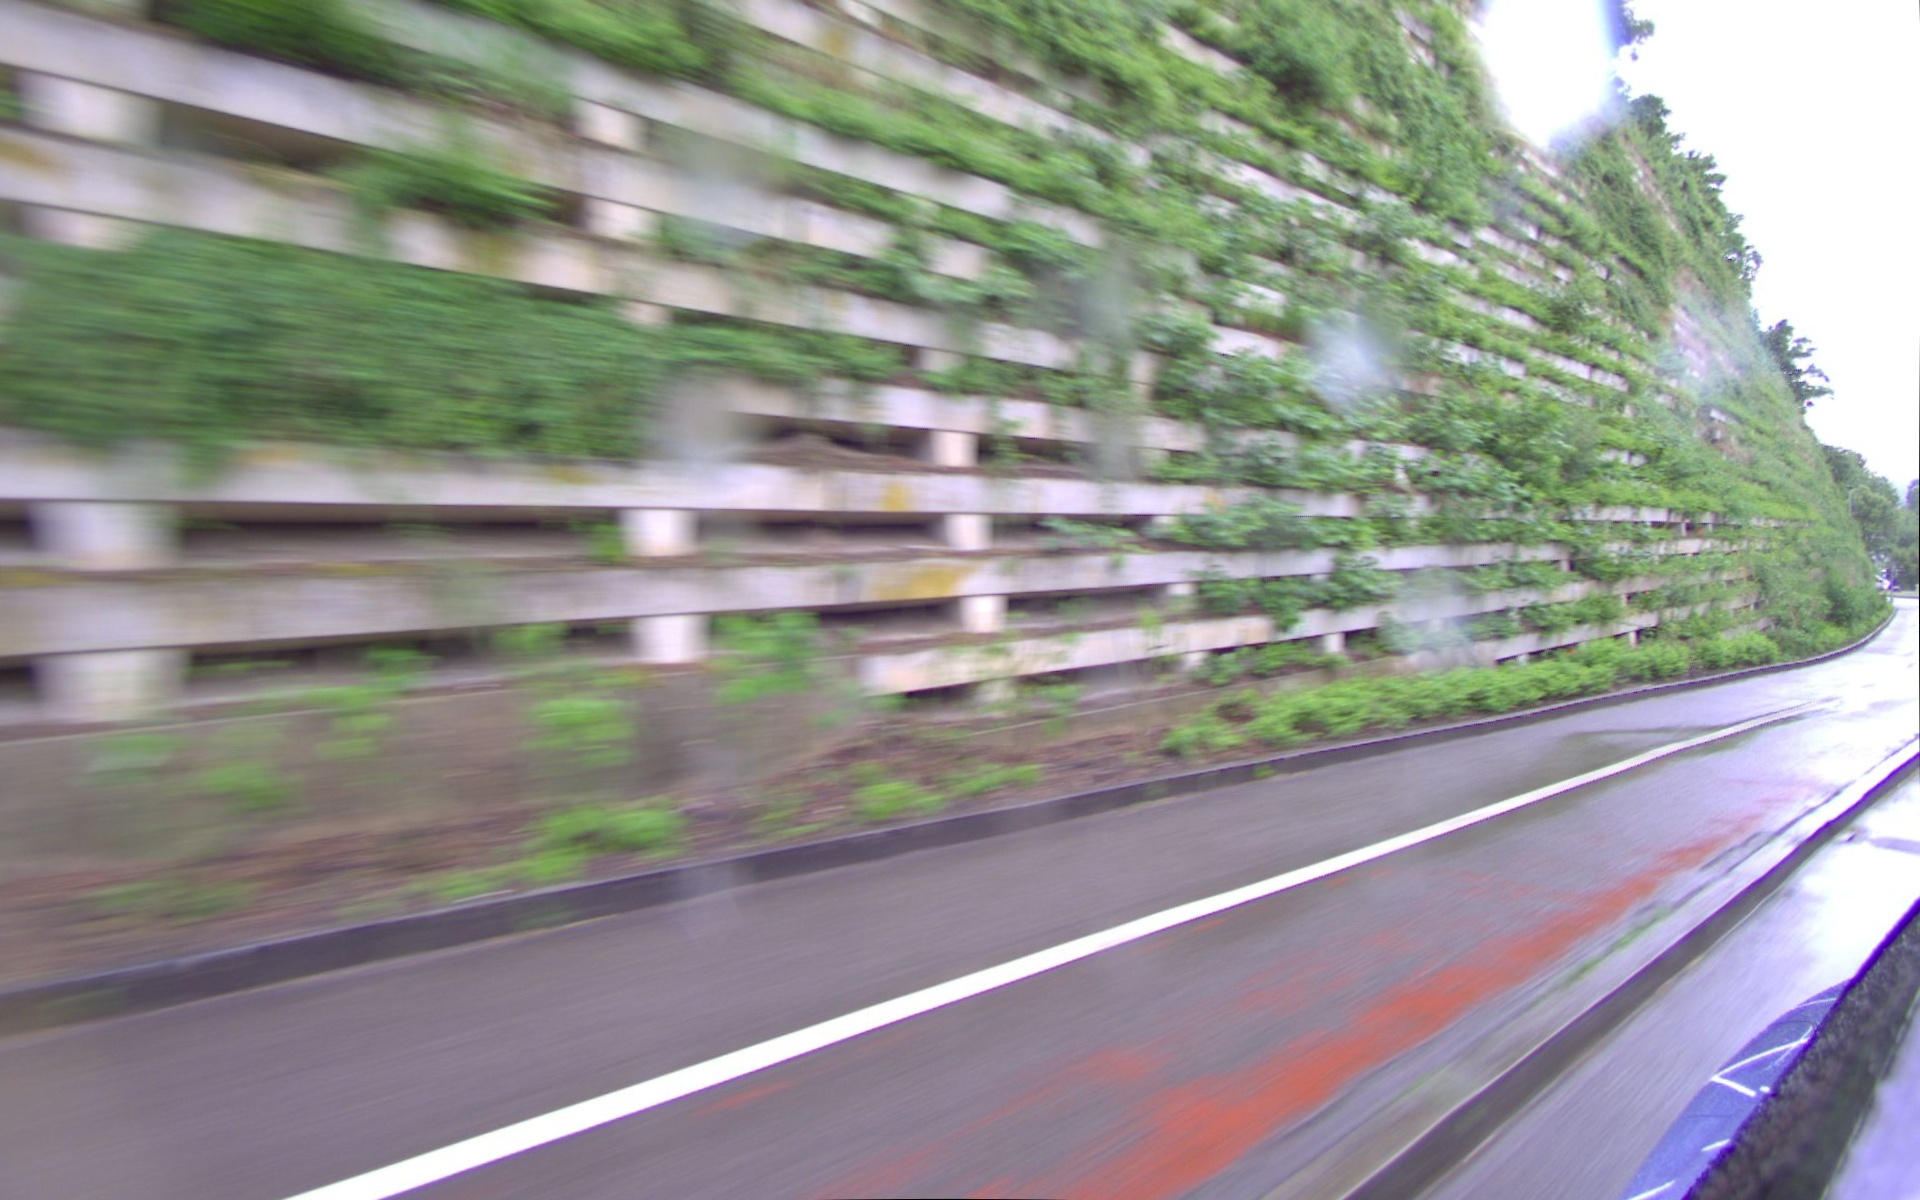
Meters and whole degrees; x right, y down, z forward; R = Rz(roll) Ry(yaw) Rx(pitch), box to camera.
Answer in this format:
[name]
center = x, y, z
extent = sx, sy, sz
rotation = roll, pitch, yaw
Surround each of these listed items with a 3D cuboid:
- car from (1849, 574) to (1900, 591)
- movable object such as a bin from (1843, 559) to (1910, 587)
[car]
center = 99.798, -1.954, 110.508
extent = 1.643, 1.592, 3.991
rotation = -2, 6, -45
[movable object such as a bin]
center = 96.026, -2.883, 106.162
extent = 2.274, 2.718, 5.690
rotation = 3, 3, 9
